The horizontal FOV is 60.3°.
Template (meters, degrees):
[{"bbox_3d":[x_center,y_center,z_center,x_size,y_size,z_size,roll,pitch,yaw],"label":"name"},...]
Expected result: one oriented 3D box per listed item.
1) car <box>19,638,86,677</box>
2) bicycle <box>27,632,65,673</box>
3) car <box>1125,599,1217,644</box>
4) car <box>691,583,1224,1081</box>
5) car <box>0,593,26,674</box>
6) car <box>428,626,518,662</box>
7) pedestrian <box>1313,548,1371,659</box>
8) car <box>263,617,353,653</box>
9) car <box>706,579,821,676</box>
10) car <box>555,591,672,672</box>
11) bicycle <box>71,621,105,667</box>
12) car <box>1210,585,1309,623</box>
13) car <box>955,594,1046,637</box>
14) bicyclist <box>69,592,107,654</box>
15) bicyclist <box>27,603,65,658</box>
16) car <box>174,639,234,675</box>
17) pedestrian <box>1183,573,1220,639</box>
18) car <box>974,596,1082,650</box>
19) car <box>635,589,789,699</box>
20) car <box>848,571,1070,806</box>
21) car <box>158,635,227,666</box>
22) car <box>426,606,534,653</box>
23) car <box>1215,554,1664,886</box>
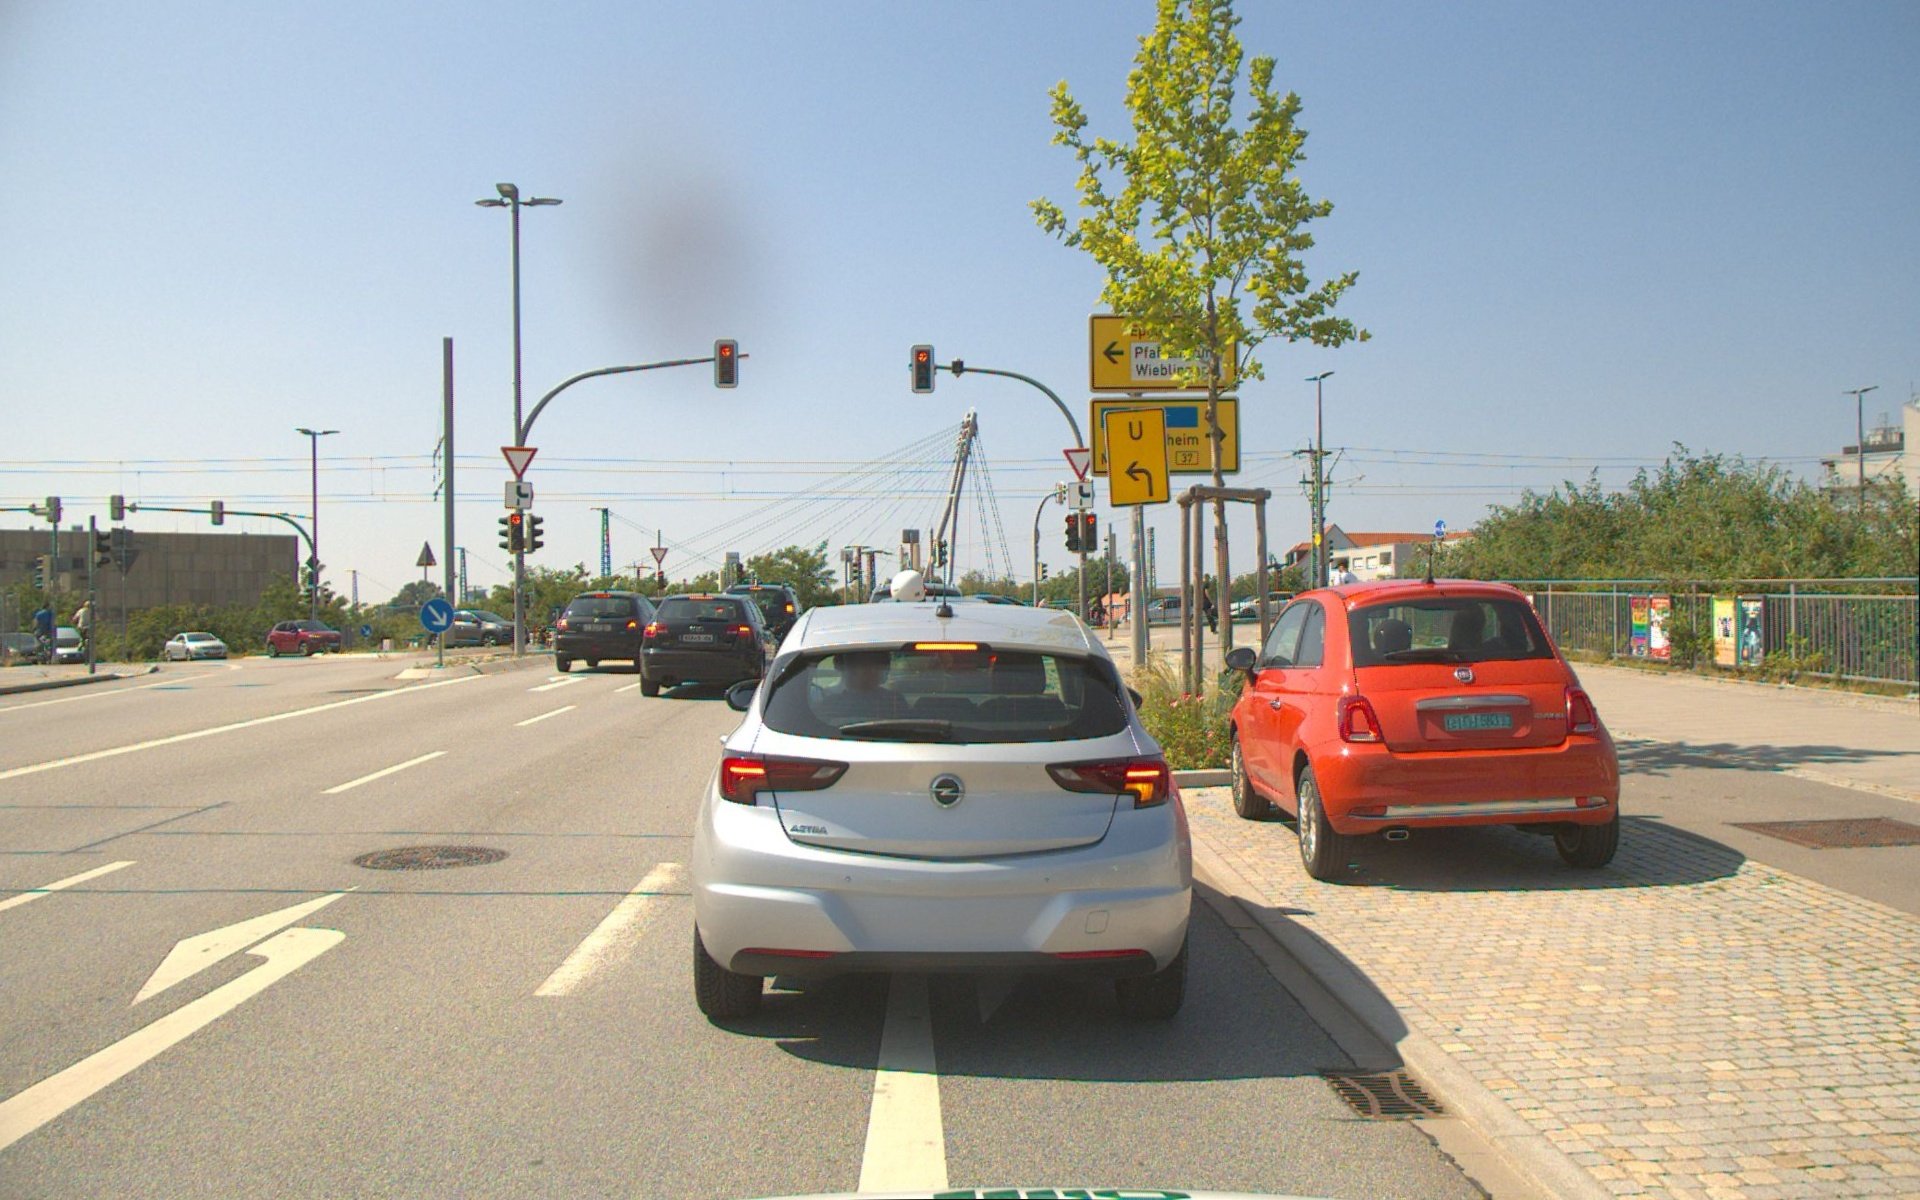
[{"bbox_3d":[-50.739,3.176,92.461,3.916,2.049,1.605,1,-1,33],"label":"car"},{"bbox_3d":[-26.860,1.528,48.594,0.720,1.154,2.502,3,-2,-34],"label":"bicycle"},{"bbox_3d":[10.126,1.022,79.394,3.932,2.049,1.986,2,-1,-23],"label":"car"},{"bbox_3d":[-0.054,0.730,7.302,1.656,1.546,4.269,0,0,-1],"label":"car"},{"bbox_3d":[-25.526,0.837,43.163,1.656,2.049,3.952,2,-1,-34],"label":"car"},{"bbox_3d":[-24.136,2.169,81.954,4.115,1.674,1.831,1,-1,28],"label":"car"},{"bbox_3d":[6.539,0.065,28.334,0.743,1.862,0.884,1,-1,-1],"label":"pedestrian"},{"bbox_3d":[-28.075,1.495,71.173,3.918,1.481,1.679,1,-1,35],"label":"car"},{"bbox_3d":[-3.703,0.521,31.747,1.767,1.650,3.915,-3,-1,-2],"label":"car"},{"bbox_3d":[-6.400,0.572,30.816,1.555,1.419,3.338,0,-1,-2],"label":"car"},{"bbox_3d":[-22.832,1.139,43.299,0.668,1.147,2.341,2,-1,-30],"label":"bicycle"},{"bbox_3d":[14.009,0.202,77.430,4.180,1.703,1.990,1,-1,-18],"label":"car"},{"bbox_3d":[1.423,0.561,59.371,3.083,1.464,1.584,1,-1,-6],"label":"car"},{"bbox_3d":[-22.828,0.607,43.303,0.811,1.596,0.938,2,-1,-31],"label":"bicyclist"},{"bbox_3d":[-26.835,0.891,48.552,0.853,1.587,0.815,2,-1,-35],"label":"bicyclist"},{"bbox_3d":[-45.817,3.444,100.215,3.931,2.049,1.987,0,-1,43],"label":"car"},{"bbox_3d":[7.063,0.179,48.426,0.734,1.896,0.744,2,-1,-35],"label":"pedestrian"},{"bbox_3d":[2.595,0.873,63.630,3.912,2.049,1.997,0,-1,-8],"label":"car"},{"bbox_3d":[-3.548,0.619,24.329,1.671,1.437,3.999,2,-1,-1],"label":"car"},{"bbox_3d":[-0.054,0.680,14.128,1.602,1.703,3.743,1,-1,-2],"label":"car"},{"bbox_3d":[-36.523,2.381,78.718,3.651,1.356,1.760,1,-1,44],"label":"car"},{"bbox_3d":[-19.231,1.183,66.218,4.117,1.771,1.715,1,-1,28],"label":"car"},{"bbox_3d":[2.642,0.579,10.046,1.635,1.566,3.917,-2,0,1],"label":"car"}]
